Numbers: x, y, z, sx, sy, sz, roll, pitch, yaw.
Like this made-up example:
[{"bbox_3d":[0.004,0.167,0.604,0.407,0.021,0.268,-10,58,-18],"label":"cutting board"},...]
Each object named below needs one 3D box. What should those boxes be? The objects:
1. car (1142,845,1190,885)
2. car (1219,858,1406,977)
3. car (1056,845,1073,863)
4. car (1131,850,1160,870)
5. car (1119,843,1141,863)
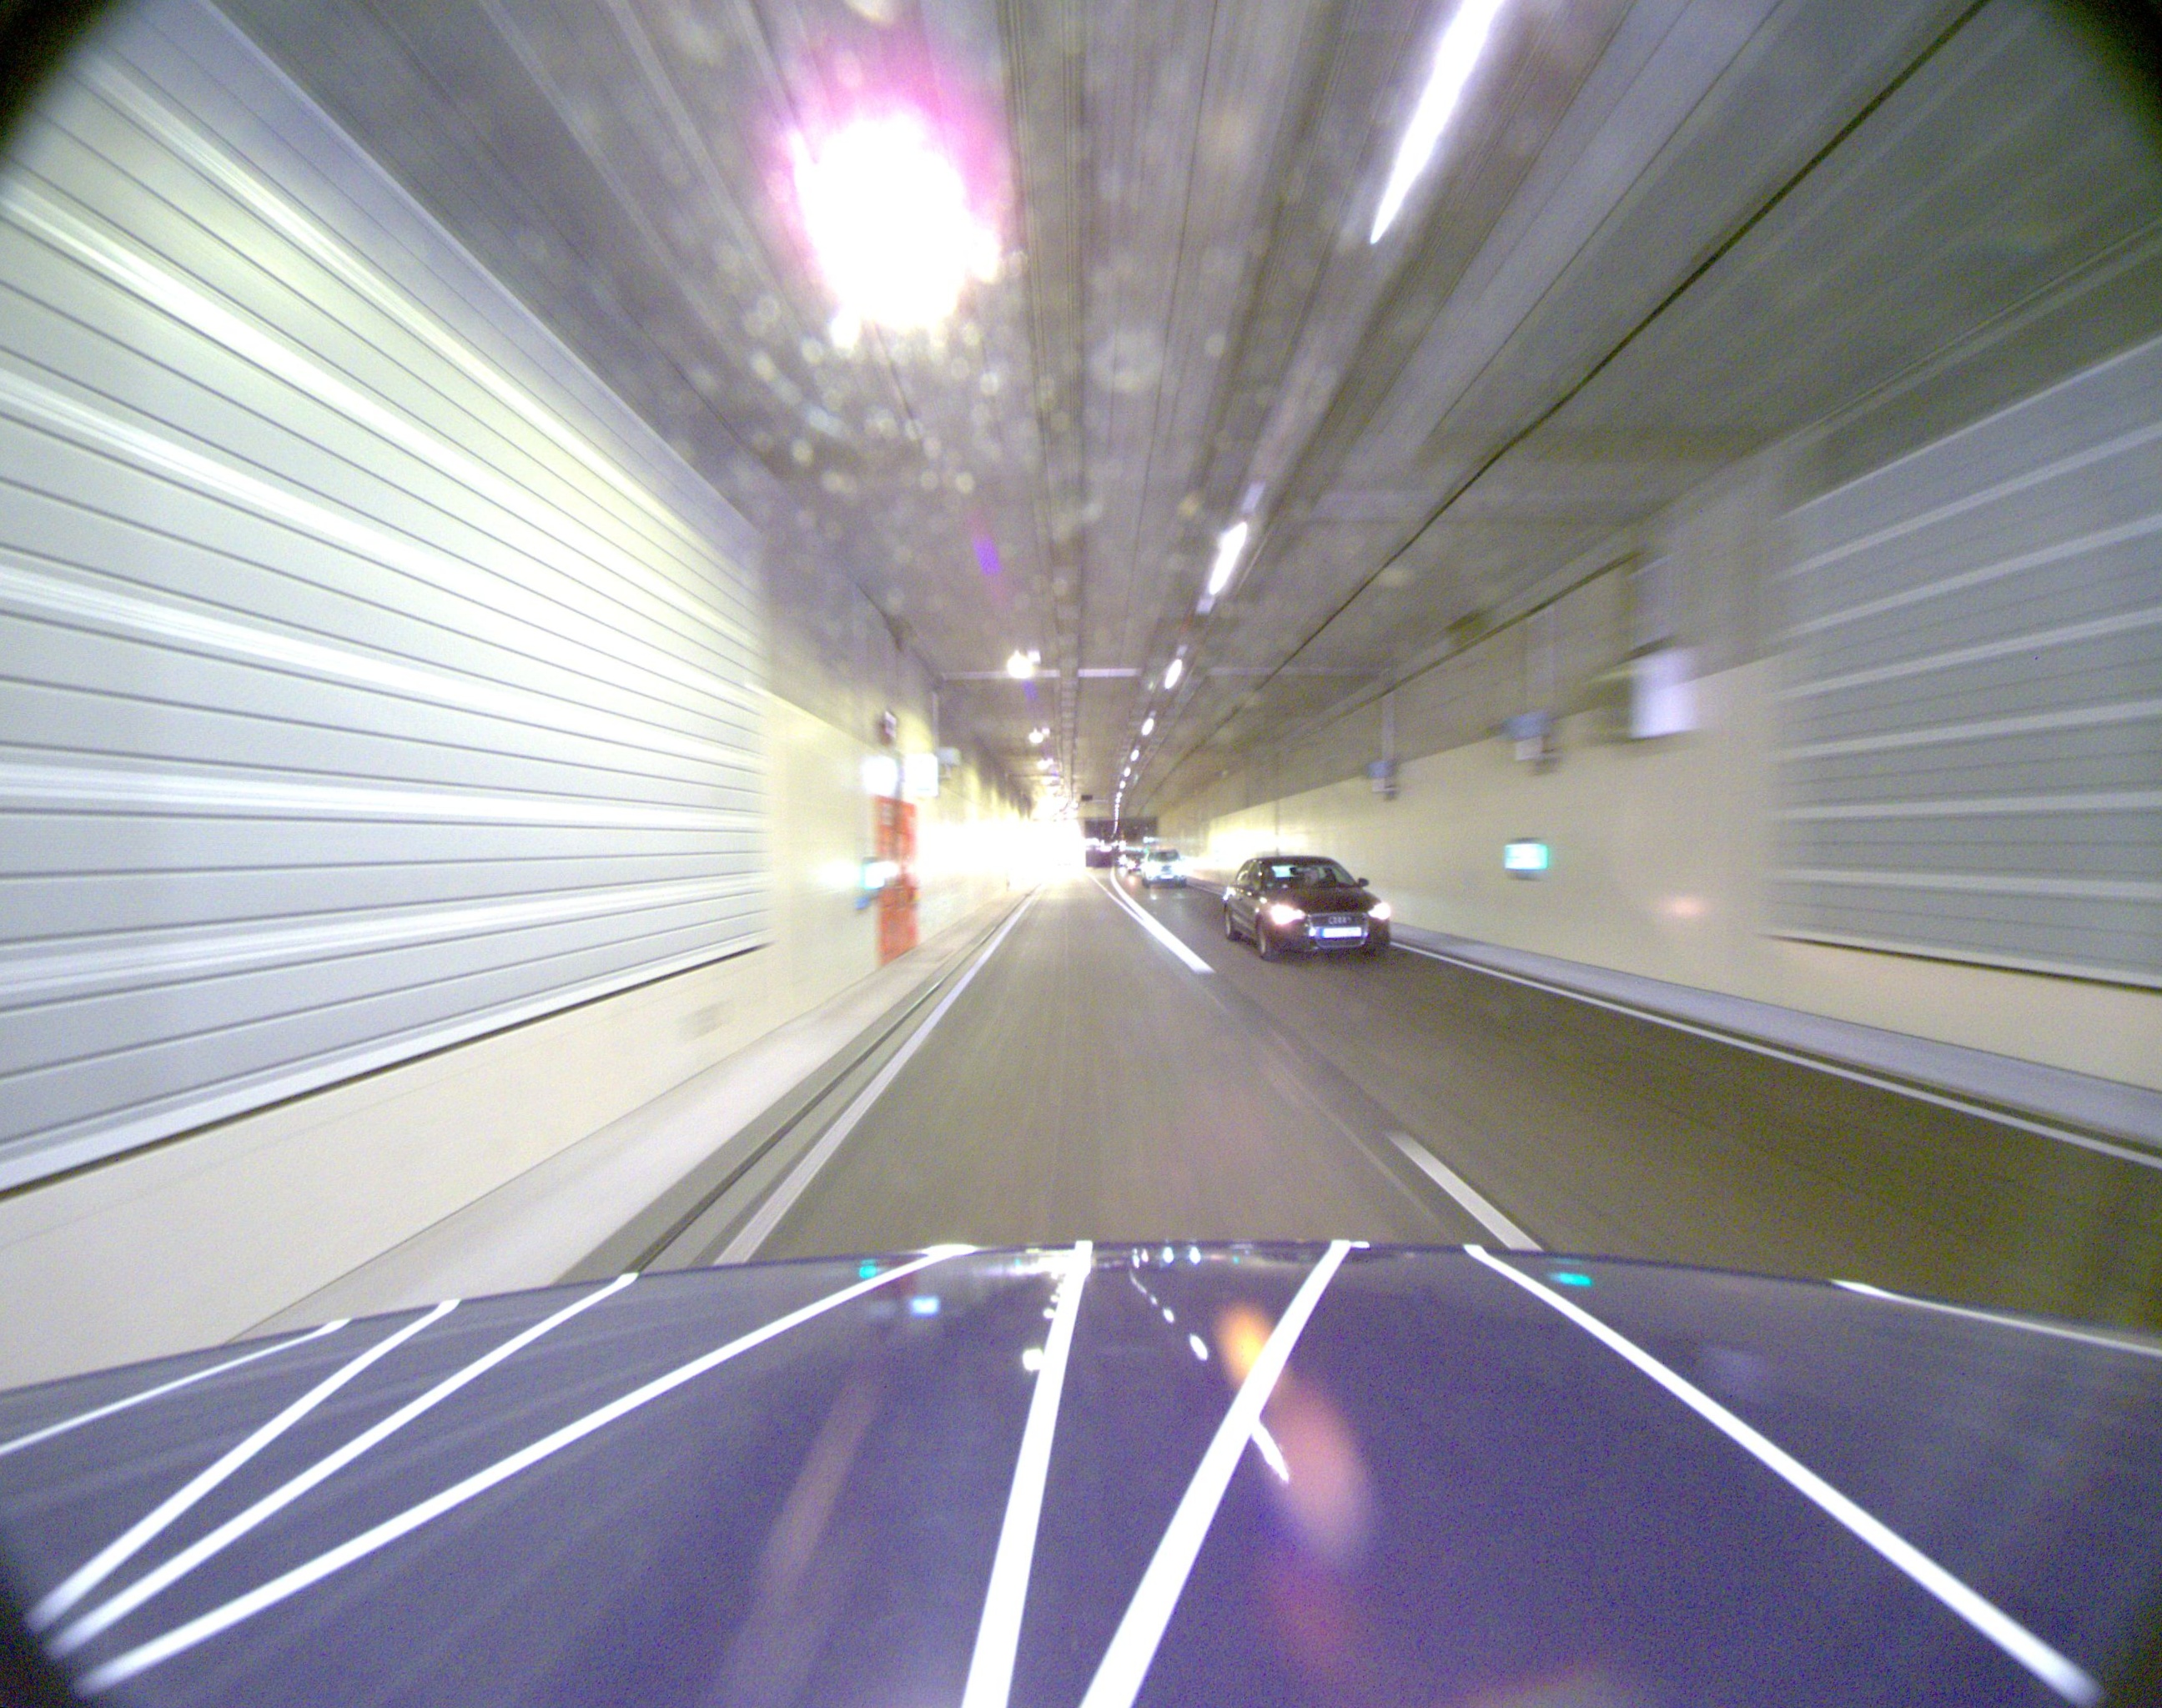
[{"bbox_3d":[3.744,0.494,34.016,1.854,1.658,3.971,-1,-1,2],"label":"car"},{"bbox_3d":[3.257,0.811,11.481,1.699,1.410,3.888,-2,0,2],"label":"car"},{"bbox_3d":[-2.023,-0.032,92.659,1.785,2.002,3.909,-2,1,2],"label":"car"},{"bbox_3d":[4.821,0.456,57.464,1.998,1.407,4.001,-2,-1,2],"label":"car"},{"bbox_3d":[5.234,-0.111,81.458,1.998,2.002,3.999,-2,1,1],"label":"car"}]
